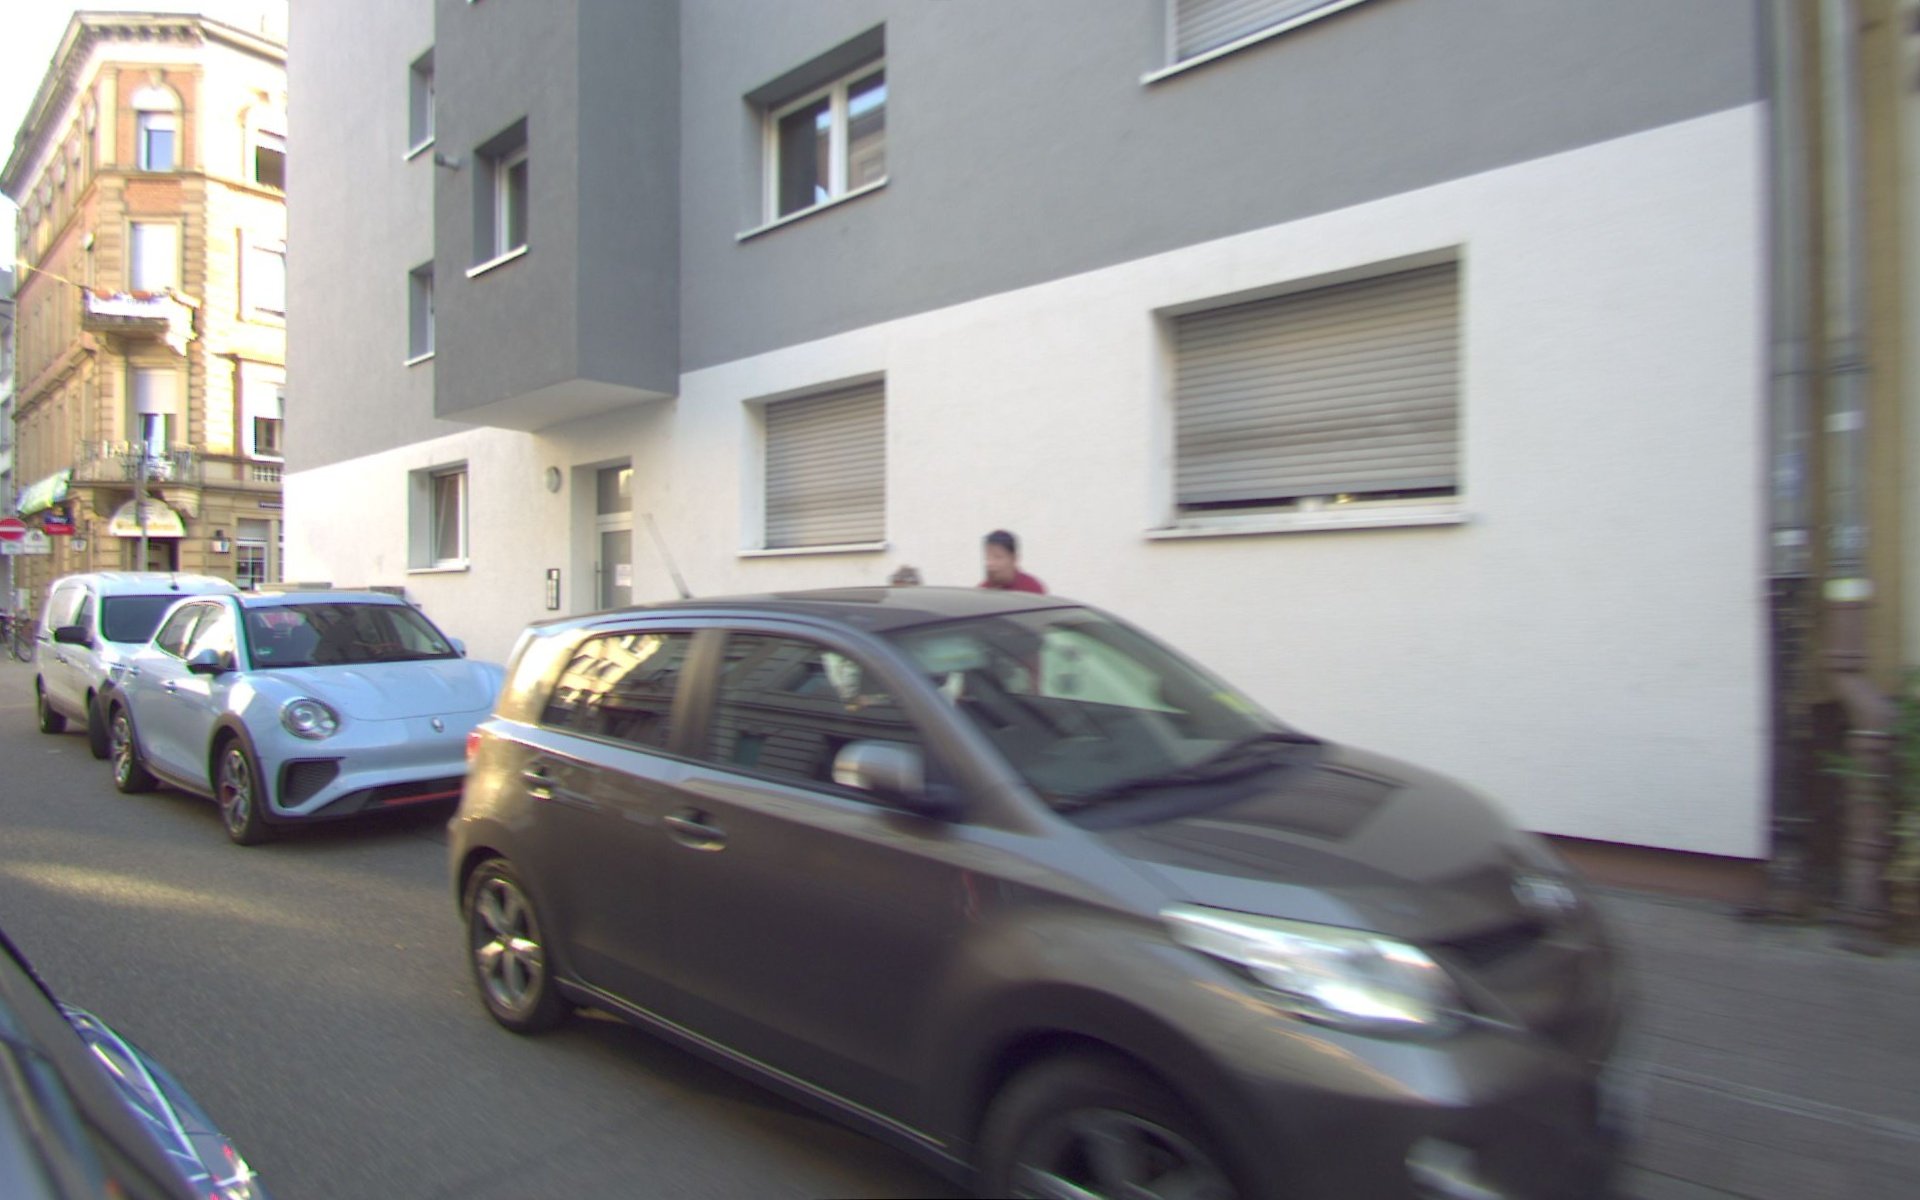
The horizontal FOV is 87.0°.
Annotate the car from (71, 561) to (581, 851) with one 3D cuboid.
[{"bbox_3d":[-4.861,0.641,7.528,4.358,1.576,1.747,-2,-2,36],"label":"car"}]

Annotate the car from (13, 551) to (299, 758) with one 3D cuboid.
[{"bbox_3d":[-8.789,0.521,10.936,4.181,1.827,1.614,-1,-1,40],"label":"car"}]

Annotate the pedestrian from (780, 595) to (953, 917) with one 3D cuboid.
[{"bbox_3d":[-0.429,0.691,4.876,0.666,1.421,0.659,0,-1,13],"label":"pedestrian"}]

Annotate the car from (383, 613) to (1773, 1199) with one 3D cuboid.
[{"bbox_3d":[-0.112,0.741,3.181,4.129,1.342,1.666,0,0,41],"label":"car"}]

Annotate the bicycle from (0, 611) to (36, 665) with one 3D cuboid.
[{"bbox_3d":[-23.741,0.933,25.244,1.760,1.284,0.653,-1,2,37],"label":"bicycle"}]

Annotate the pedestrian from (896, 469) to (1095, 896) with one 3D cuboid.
[{"bbox_3d":[0.199,0.395,5.351,0.772,2.029,0.792,-1,-1,30],"label":"pedestrian"}]
